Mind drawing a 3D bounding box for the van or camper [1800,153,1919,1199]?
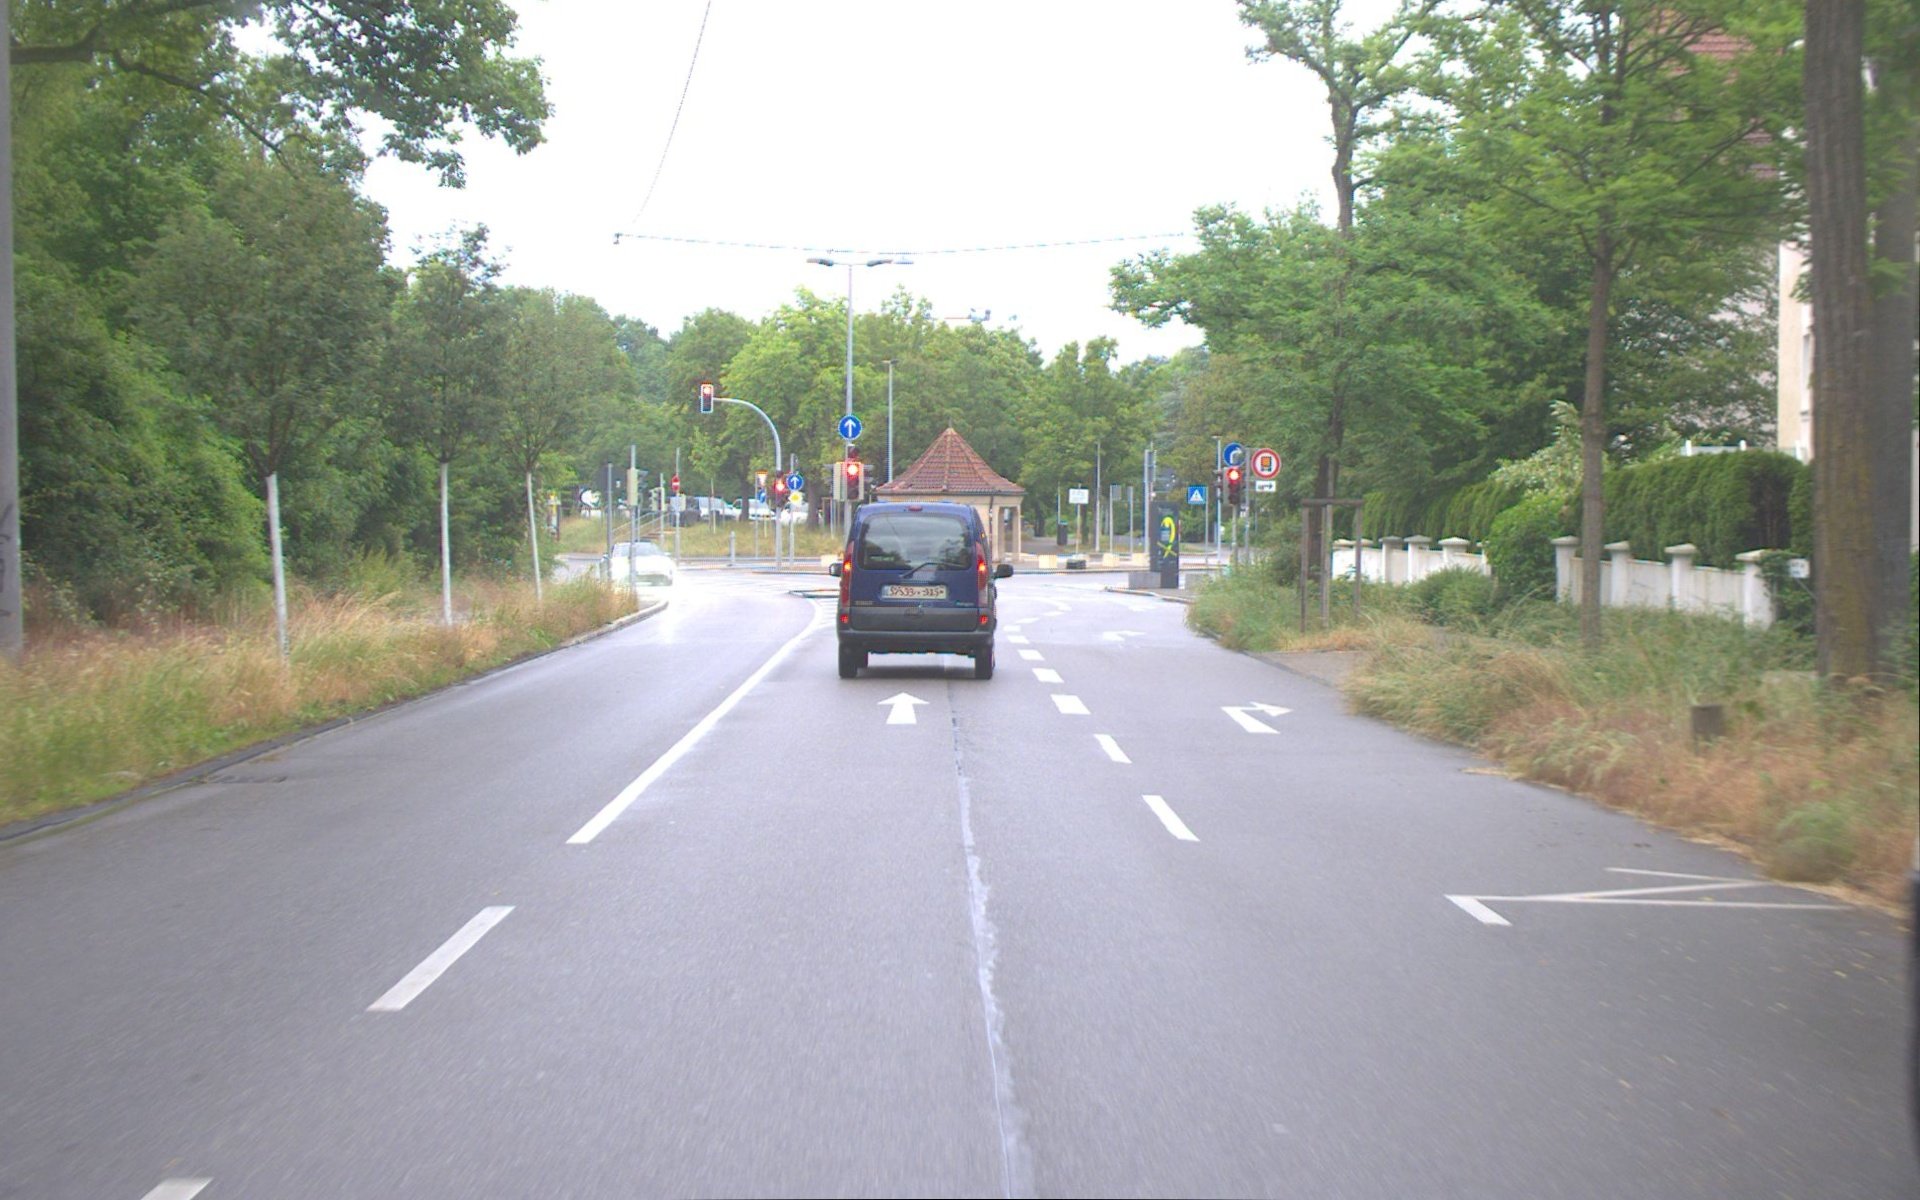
[{"bbox_3d":[3.262,0.264,5.958,2.037,2.471,5.639,3,1,-1],"label":"van or camper"}]

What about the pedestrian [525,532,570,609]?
[{"bbox_3d":[-10.912,-0.773,91.045,1.088,2.007,1.000,1,0,-3],"label":"pedestrian"}]

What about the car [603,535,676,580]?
[{"bbox_3d":[-10.280,-1.373,110.060,1.993,1.307,4.361,-2,2,-9],"label":"car"}]

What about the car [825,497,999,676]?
[{"bbox_3d":[-0.515,-0.176,36.934,1.731,1.780,4.000,1,1,-1],"label":"car"}]
